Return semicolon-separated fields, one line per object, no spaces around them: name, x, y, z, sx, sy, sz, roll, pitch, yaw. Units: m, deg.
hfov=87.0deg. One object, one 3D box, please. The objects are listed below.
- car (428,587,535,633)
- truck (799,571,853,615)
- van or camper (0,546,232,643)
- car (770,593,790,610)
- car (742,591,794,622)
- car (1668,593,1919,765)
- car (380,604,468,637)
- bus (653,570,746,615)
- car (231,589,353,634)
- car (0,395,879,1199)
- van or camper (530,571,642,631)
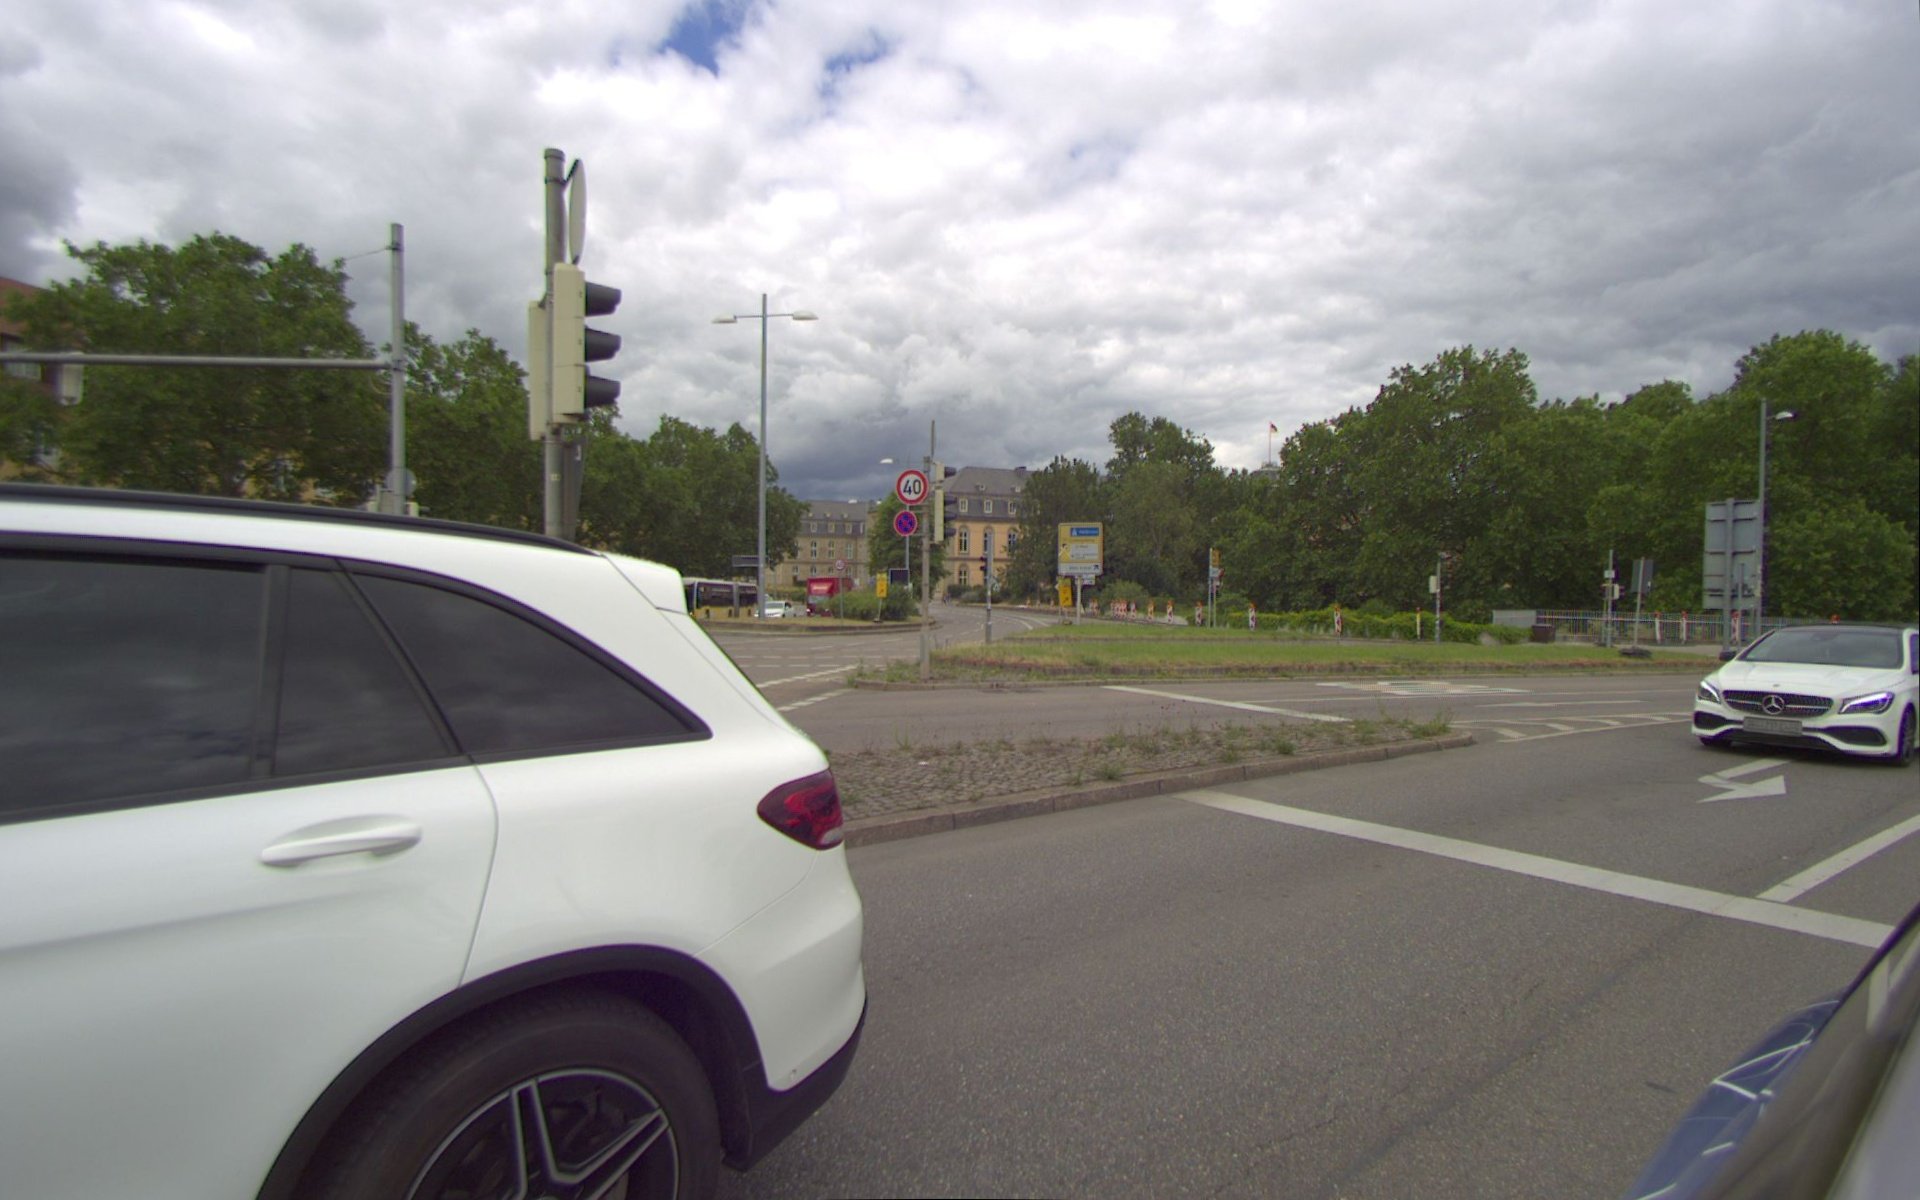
car;-16.147;0.311;34.369;1.709;1.418;3.707;1;0;4
truck;-11.219;-0.602;85.739;2.743;3.534;8.338;1;0;5
van or camper;-23.228;-0.166;27.123;2.335;2.291;6.272;1;0;8
car;-22.127;0.118;124.249;1.960;2.039;4.003;1;0;-4
car;-11.337;0.370;59.948;1.965;1.776;3.954;1;0;6
car;10.092;0.762;11.513;4.562;1.589;1.872;1;0;-35
car;-21.708;0.810;41.099;1.595;1.251;3.233;1;0;7
bus;-20.758;-0.602;81.708;3.373;3.244;13.051;1;0;3
car;-22.184;0.353;33.772;1.587;1.372;3.481;1;0;5
car;-2.368;0.554;1.442;4.258;1.667;1.805;1;0;-41
van or camper;-13.129;0.014;35.835;1.833;1.941;4.706;1;0;6
